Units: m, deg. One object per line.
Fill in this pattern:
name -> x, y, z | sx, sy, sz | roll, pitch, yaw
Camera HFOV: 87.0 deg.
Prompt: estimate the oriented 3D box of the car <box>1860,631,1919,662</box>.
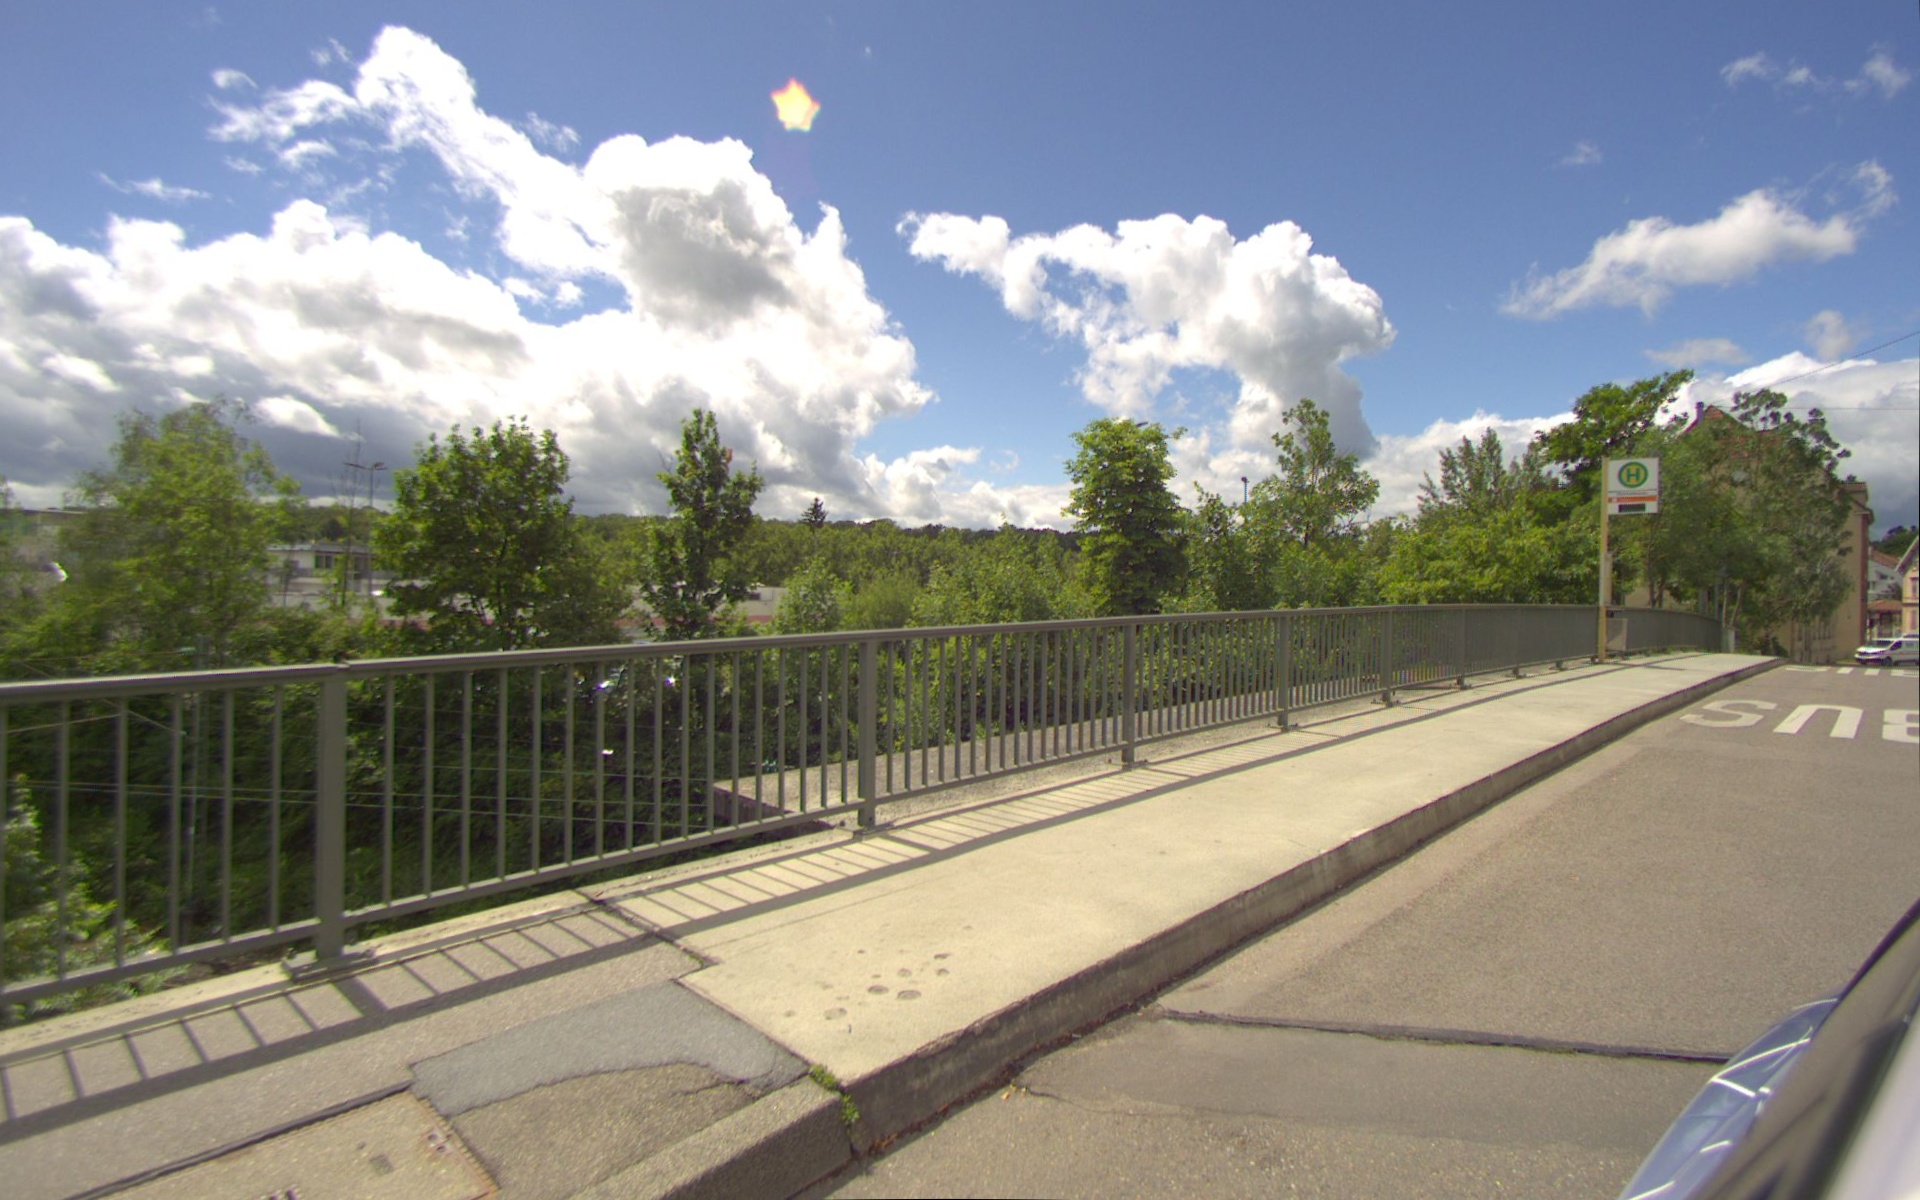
car -> 68.905, 3.358, 74.013 | 4.886, 2.018, 2.003 | -2, -2, -12
